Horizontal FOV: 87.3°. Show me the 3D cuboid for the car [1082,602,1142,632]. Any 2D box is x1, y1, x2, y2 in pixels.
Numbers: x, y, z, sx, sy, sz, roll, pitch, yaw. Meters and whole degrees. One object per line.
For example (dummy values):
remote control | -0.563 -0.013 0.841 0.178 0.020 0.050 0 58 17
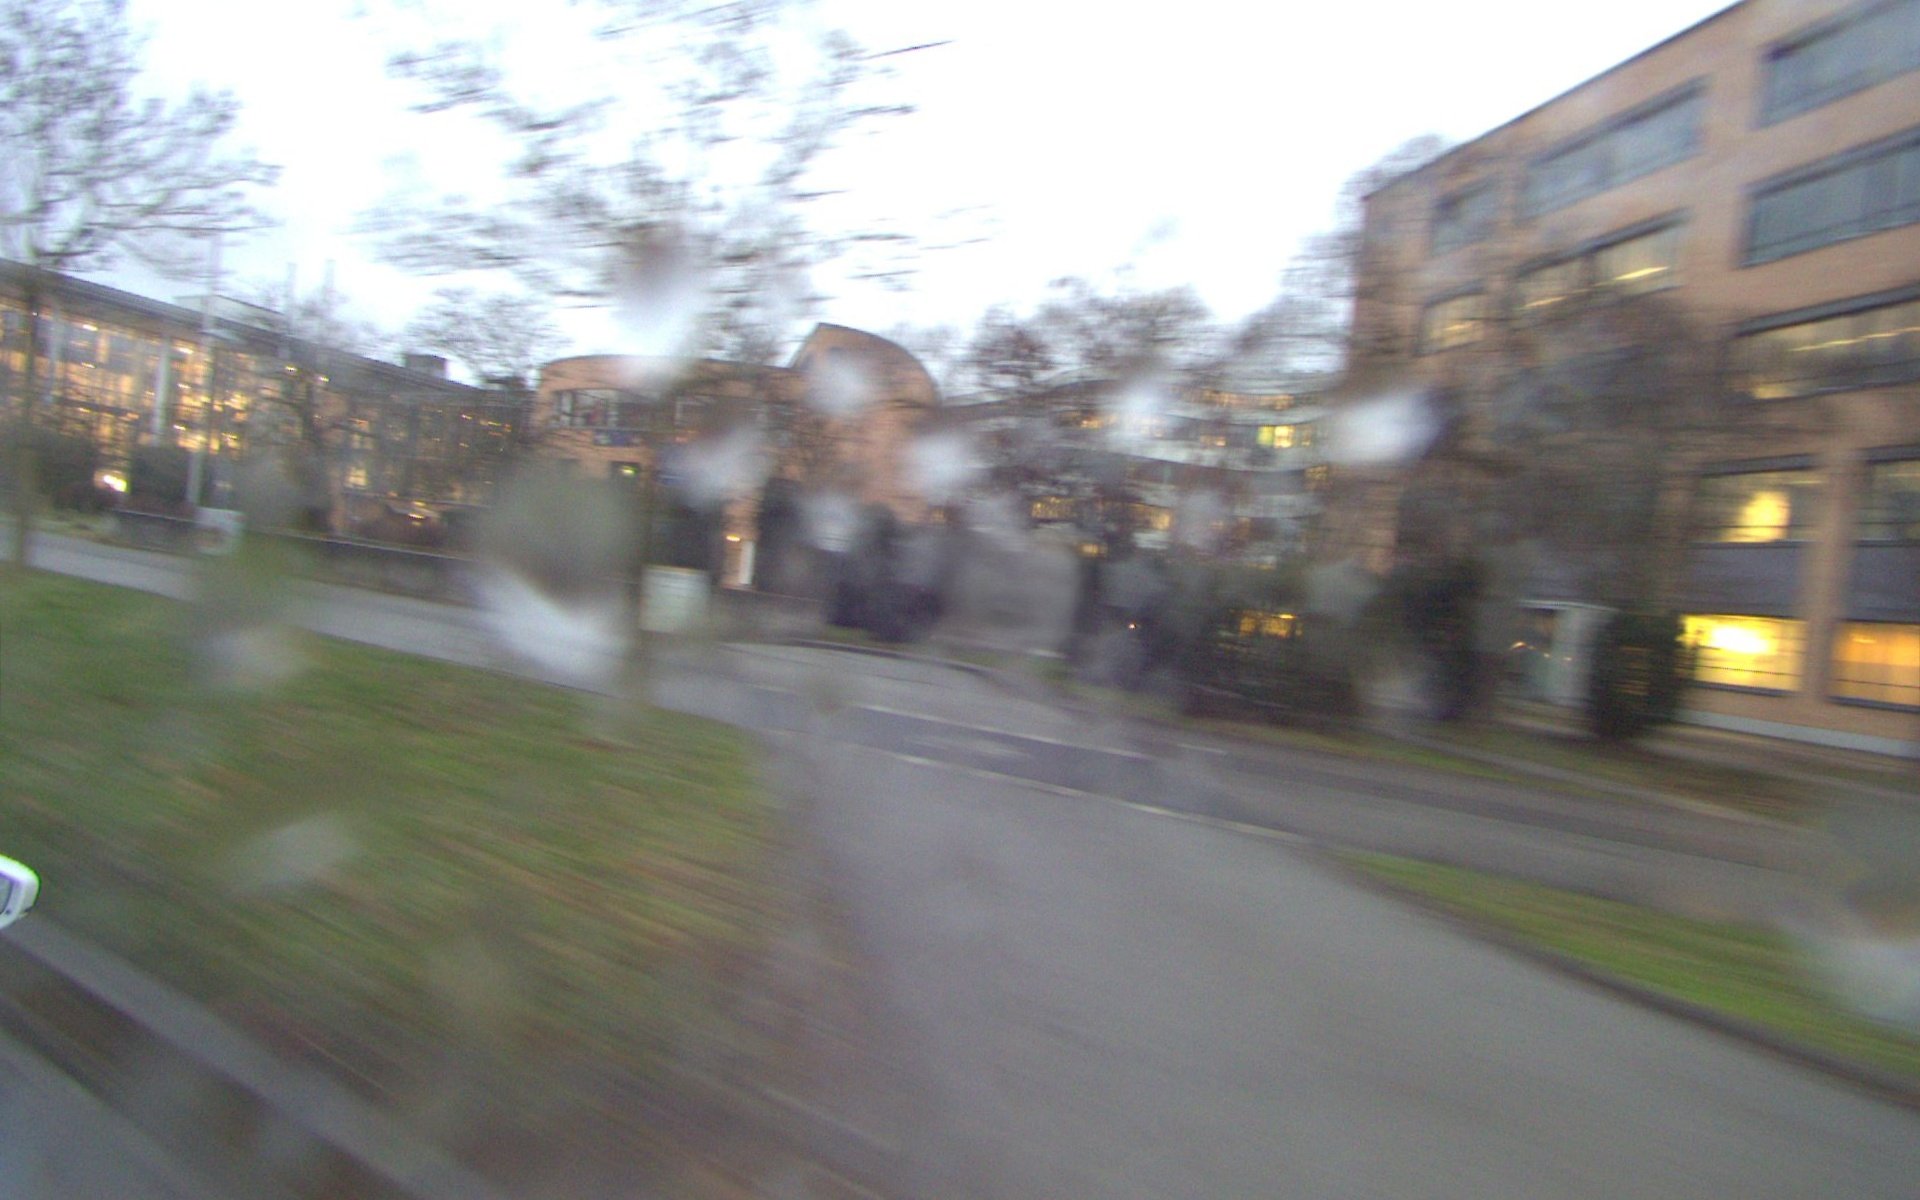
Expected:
car | 8.039 0.881 53.437 1.647 1.196 3.694 7 1 -16
